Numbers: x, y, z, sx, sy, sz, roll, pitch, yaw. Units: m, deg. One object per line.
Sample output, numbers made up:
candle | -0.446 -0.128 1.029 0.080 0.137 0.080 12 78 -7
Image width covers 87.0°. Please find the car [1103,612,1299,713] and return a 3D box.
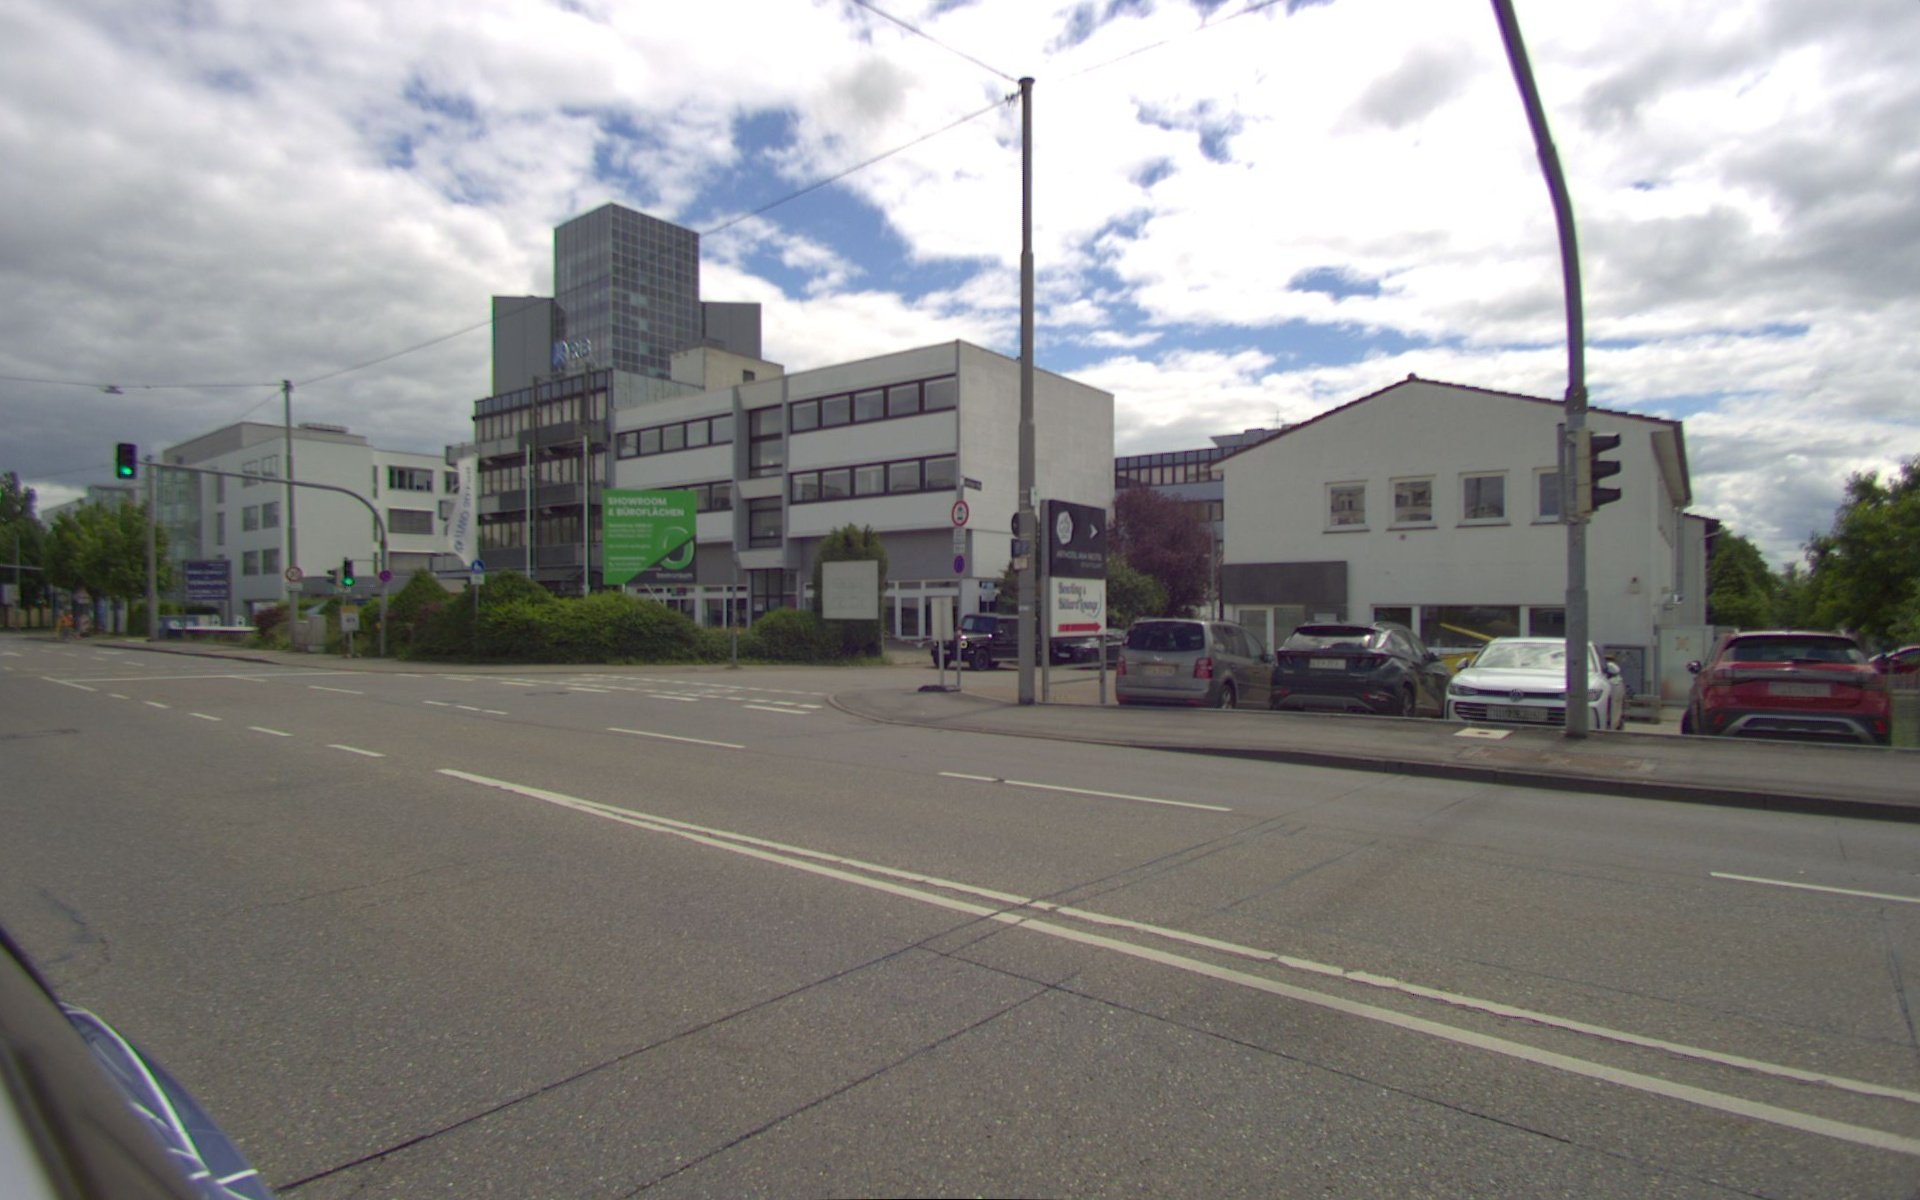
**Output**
car | 4.101 1.105 16.695 1.902 1.409 4.060 -1 -7 33

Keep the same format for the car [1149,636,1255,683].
car | 7.916 1.932 32.916 1.809 1.431 3.886 -3 -4 40

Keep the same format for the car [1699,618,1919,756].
car | 10.289 1.098 12.424 1.846 1.380 3.949 0 -6 38

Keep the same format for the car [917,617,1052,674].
car | 0.941 1.626 35.764 2.170 1.806 4.703 2 -2 42

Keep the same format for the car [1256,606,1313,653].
car | 20.340 1.799 63.394 2.101 2.626 4.358 0 2 37

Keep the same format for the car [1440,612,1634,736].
car | 8.028 1.068 13.878 1.979 1.397 4.187 0 -6 34

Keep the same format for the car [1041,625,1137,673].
car | 5.245 1.997 40.862 1.999 1.719 3.946 0 -4 40

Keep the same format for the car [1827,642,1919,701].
car | 28.447 2.121 29.853 4.163 1.555 1.829 0 2 34

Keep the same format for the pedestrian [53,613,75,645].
pedestrian | -58.566 1.884 66.171 0.715 2.028 0.812 -1 1 -7

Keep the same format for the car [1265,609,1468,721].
car | 6.342 1.052 15.539 1.853 1.435 3.949 0 -6 38
